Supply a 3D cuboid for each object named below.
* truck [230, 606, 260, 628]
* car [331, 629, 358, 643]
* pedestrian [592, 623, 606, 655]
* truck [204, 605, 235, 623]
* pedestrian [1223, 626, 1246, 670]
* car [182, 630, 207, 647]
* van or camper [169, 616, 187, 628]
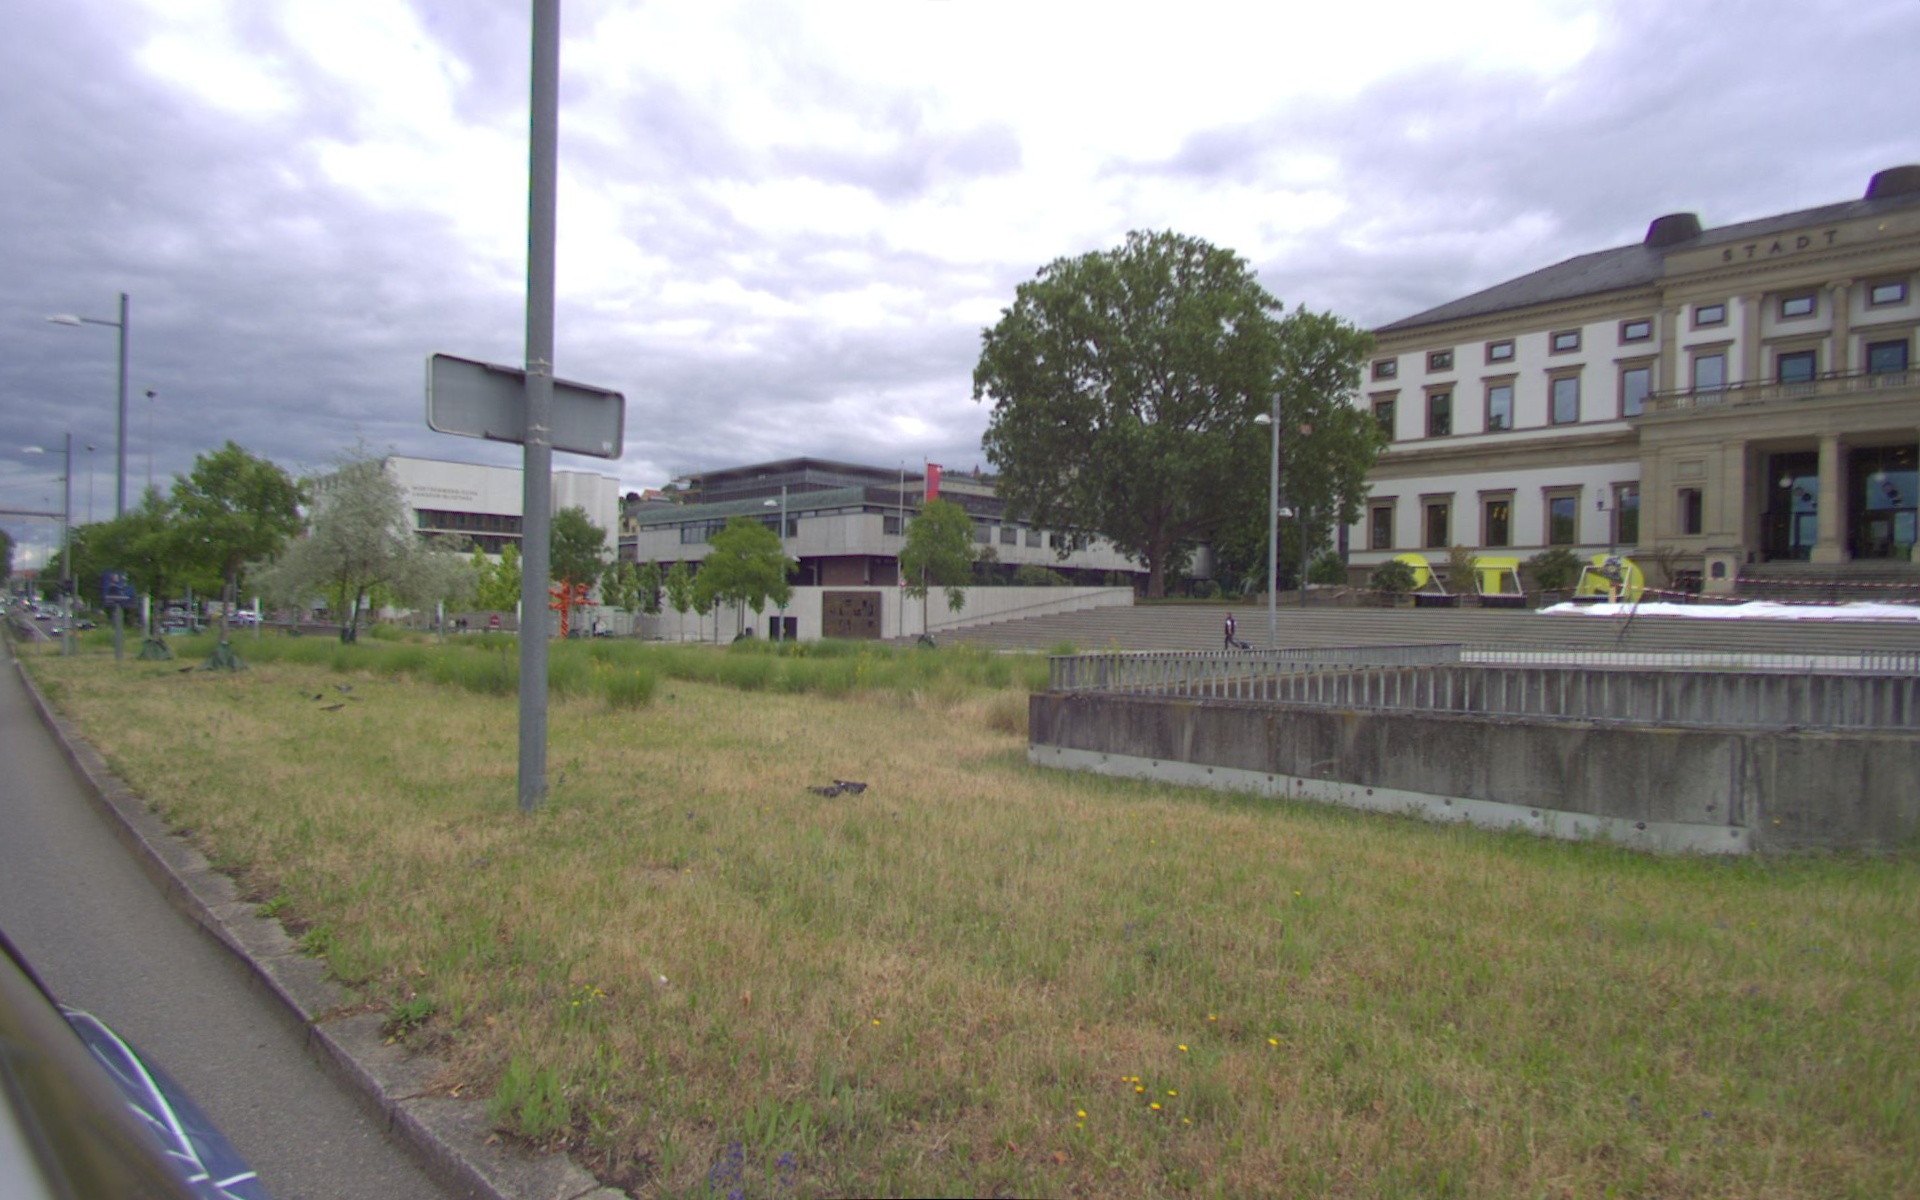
[{"bbox_3d":[-96.417,2.255,136.440,2.434,2.838,7.086,0,-2,-42],"label":"truck"},{"bbox_3d":[-69.518,4.078,114.231,1.698,1.586,4.617,0,-2,-43],"label":"car"},{"bbox_3d":[-20.102,2.175,56.340,0.534,1.747,0.664,0,-1,-44],"label":"pedestrian"},{"bbox_3d":[-118.633,2.265,162.050,3.192,2.809,7.261,0,-2,-42],"label":"truck"},{"bbox_3d":[10.597,1.846,39.076,0.651,1.661,0.518,-1,0,45],"label":"pedestrian"},{"bbox_3d":[-96.117,4.854,127.103,1.970,2.029,4.003,5,-5,-44],"label":"car"},{"bbox_3d":[-134.607,3.739,174.186,1.970,2.029,4.560,0,-2,-44],"label":"van or camper"}]
